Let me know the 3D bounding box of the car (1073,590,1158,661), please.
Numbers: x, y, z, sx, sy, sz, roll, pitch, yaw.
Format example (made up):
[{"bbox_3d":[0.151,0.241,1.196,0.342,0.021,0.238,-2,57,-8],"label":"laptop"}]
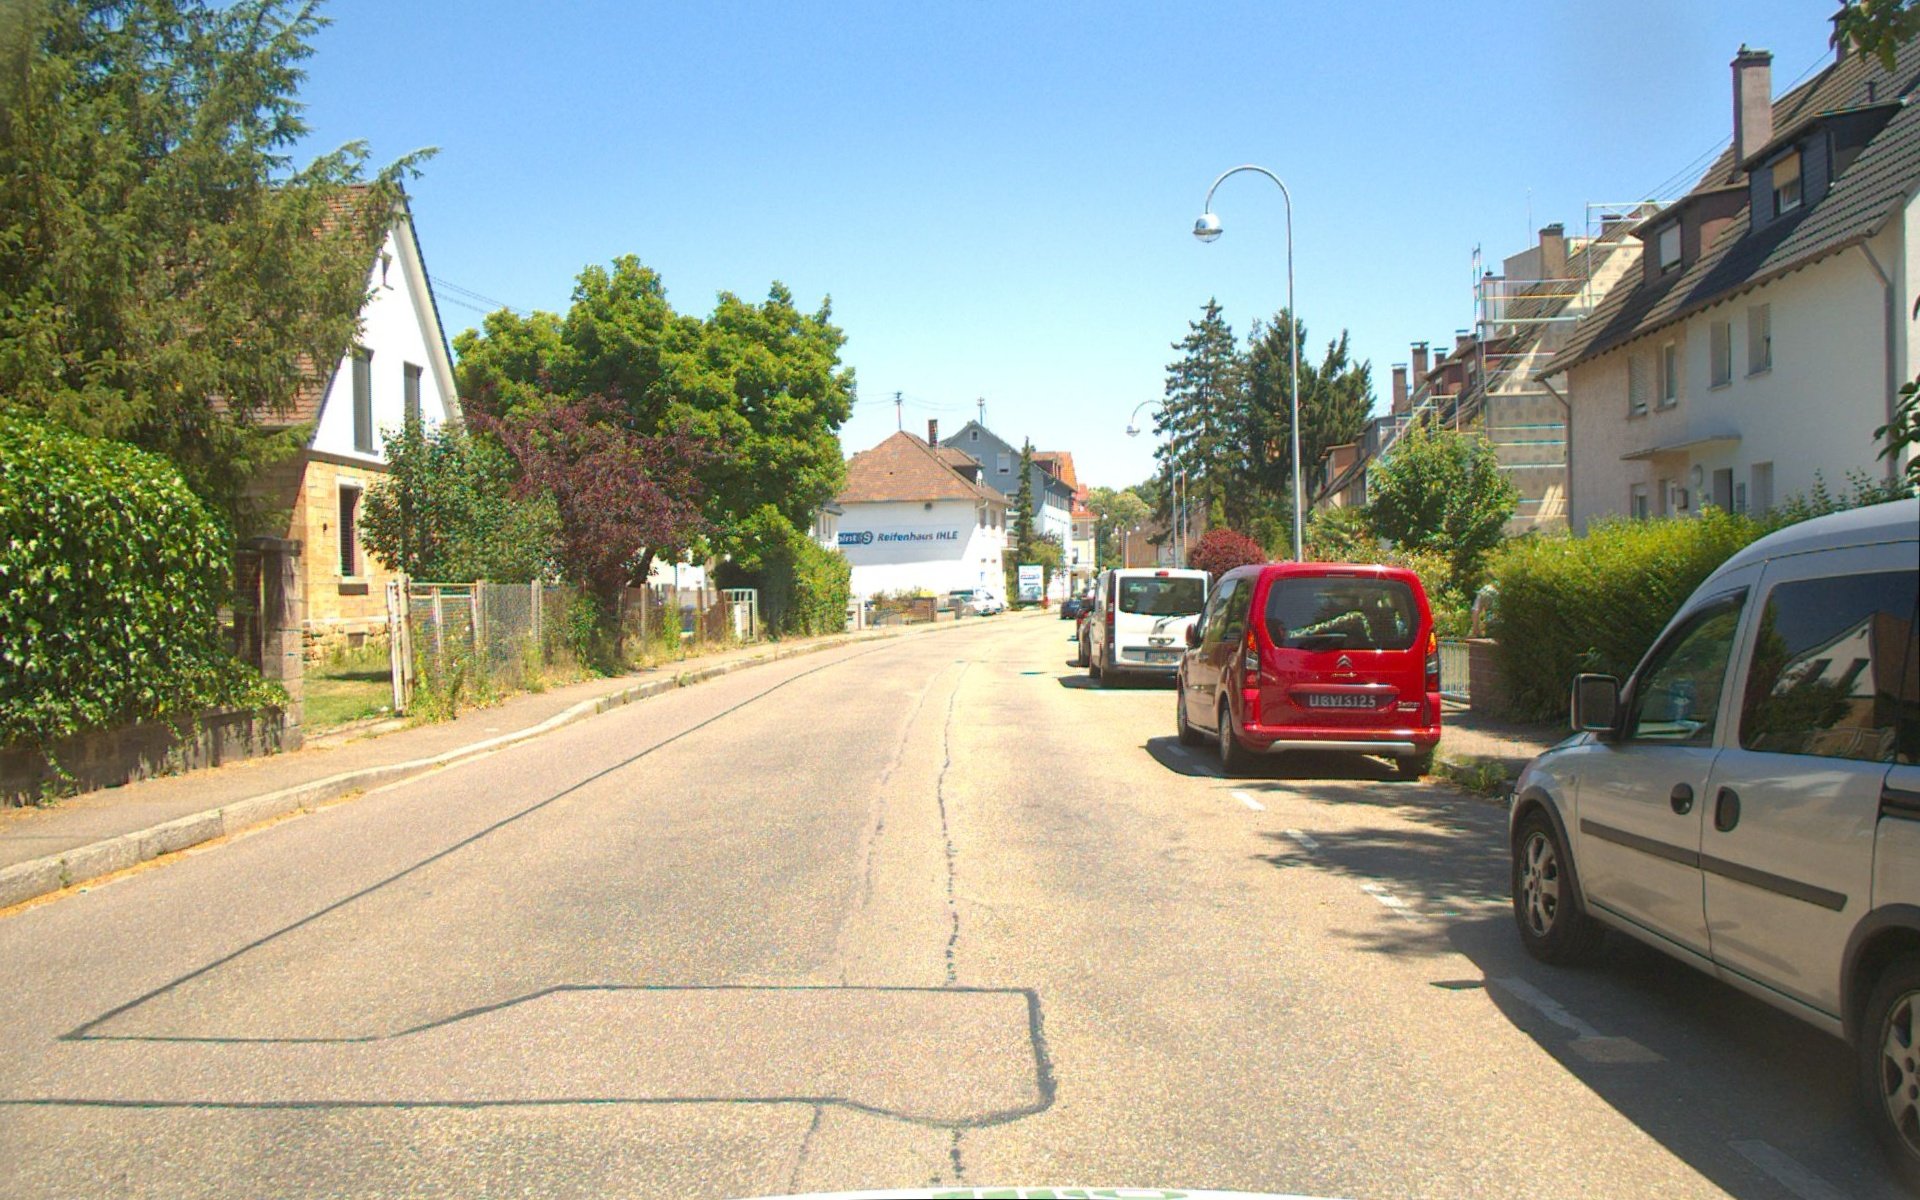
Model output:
[{"bbox_3d":[3.352,0.521,36.136,1.622,1.422,4.001,-1,1,2],"label":"car"}]

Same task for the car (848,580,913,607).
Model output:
[{"bbox_3d":[-4.876,-0.411,100.924,1.787,1.536,3.934,-2,2,-45],"label":"car"}]

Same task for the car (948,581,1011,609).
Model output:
[{"bbox_3d":[1.323,-0.341,111.366,4.041,1.805,1.830,-1,1,5],"label":"car"}]

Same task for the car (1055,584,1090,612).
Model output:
[{"bbox_3d":[6.466,-0.140,94.705,1.756,1.536,4.003,0,0,7],"label":"car"}]

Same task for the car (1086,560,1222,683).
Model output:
[{"bbox_3d":[3.287,0.318,28.871,1.864,1.958,4.719,-1,1,1],"label":"car"}]

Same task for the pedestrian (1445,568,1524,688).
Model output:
[{"bbox_3d":[7.093,0.371,22.403,0.772,1.543,0.708,-3,0,1],"label":"pedestrian"}]

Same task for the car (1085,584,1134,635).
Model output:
[{"bbox_3d":[5.602,0.360,61.585,1.628,1.785,4.003,1,0,7],"label":"car"}]

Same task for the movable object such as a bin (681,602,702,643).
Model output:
[{"bbox_3d":[-6.966,0.579,42.892,0.457,1.027,0.506,0,0,1],"label":"movable object such as a bin"}]

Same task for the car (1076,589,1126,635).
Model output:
[{"bbox_3d":[4.860,0.377,56.581,1.628,1.480,4.003,0,1,6],"label":"car"}]

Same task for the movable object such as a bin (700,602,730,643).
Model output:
[{"bbox_3d":[-6.265,0.569,42.275,0.693,1.014,0.474,-1,0,-1],"label":"movable object such as a bin"}]

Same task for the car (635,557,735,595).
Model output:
[{"bbox_3d":[-11.432,-1.003,69.025,3.907,1.536,1.799,0,0,-3],"label":"car"}]

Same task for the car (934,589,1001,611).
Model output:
[{"bbox_3d":[0.473,-0.012,105.979,4.070,1.367,1.899,0,1,43],"label":"car"}]

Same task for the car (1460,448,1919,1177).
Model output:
[{"bbox_3d":[3.240,0.526,5.547,1.710,1.813,4.543,1,0,0],"label":"car"}]

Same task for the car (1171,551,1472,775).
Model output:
[{"bbox_3d":[3.175,0.497,15.434,1.864,1.758,4.391,1,0,0],"label":"car"}]
